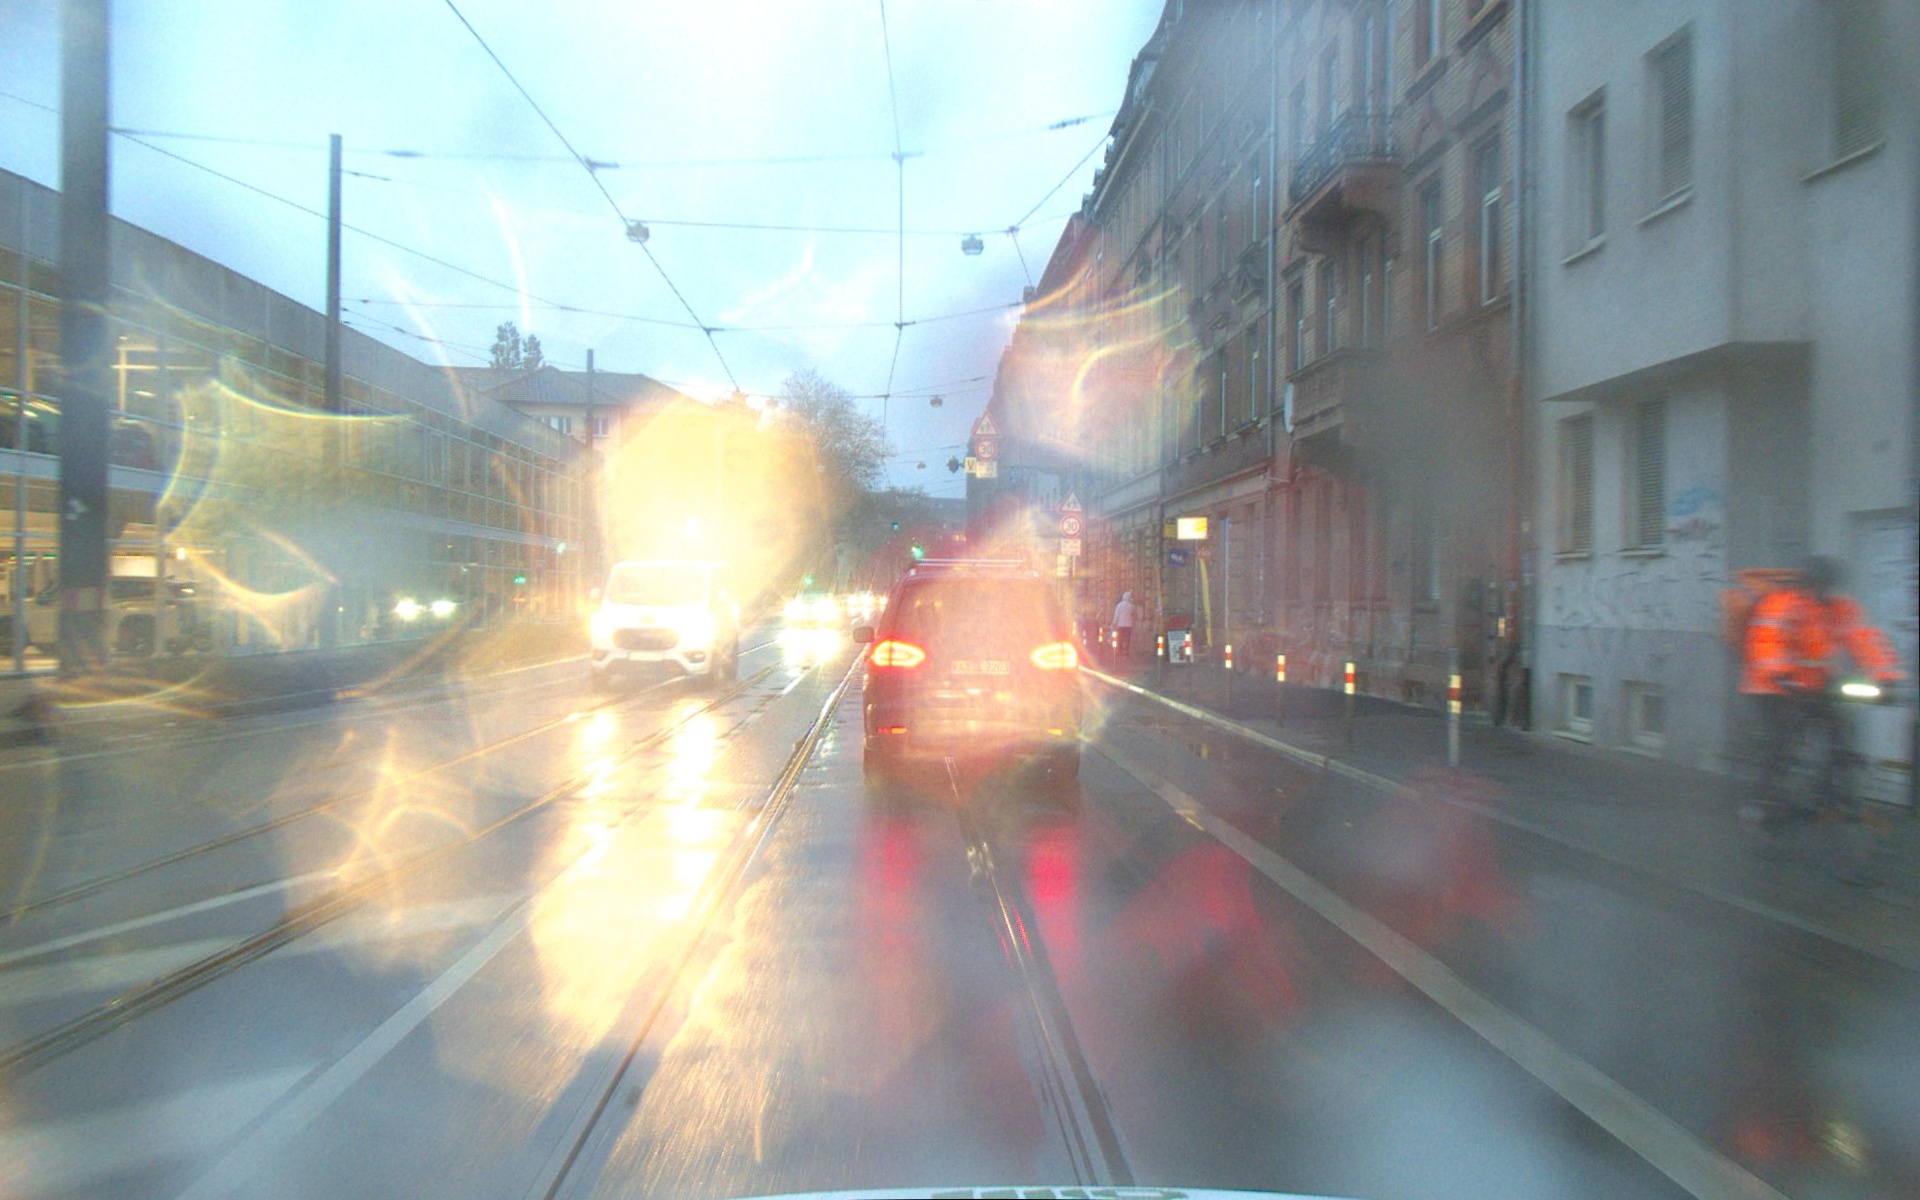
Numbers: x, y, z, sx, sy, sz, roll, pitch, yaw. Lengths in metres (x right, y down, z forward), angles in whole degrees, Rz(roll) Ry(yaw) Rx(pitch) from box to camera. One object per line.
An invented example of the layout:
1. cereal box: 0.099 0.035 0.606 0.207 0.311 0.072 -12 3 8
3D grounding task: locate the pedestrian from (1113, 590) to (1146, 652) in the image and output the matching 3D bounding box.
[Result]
1. pedestrian: 4.492 0.543 43.864 0.770 1.625 0.741 0 0 -1

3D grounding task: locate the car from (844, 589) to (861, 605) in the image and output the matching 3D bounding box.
1. car: -12.201 -0.333 187.986 1.838 1.739 4.758 -1 0 -3

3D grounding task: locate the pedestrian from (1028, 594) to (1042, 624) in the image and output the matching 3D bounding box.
1. pedestrian: 3.575 0.445 78.419 0.588 1.401 0.728 1 -1 -3

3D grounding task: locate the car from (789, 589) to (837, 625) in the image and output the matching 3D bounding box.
1. car: -6.651 0.304 75.071 1.803 1.606 4.441 0 0 -1

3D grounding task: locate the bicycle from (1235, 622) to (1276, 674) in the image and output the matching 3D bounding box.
1. bicycle: 5.575 0.887 31.267 0.389 0.927 1.866 0 0 -2

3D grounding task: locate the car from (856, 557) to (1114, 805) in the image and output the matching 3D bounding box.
1. car: 0.216 0.615 14.622 1.952 1.874 4.000 1 0 1

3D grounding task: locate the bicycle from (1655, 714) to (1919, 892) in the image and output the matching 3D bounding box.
1. bicycle: 4.654 1.089 9.314 0.596 0.774 1.859 0 0 -4

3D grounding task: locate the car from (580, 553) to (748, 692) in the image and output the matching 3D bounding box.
1. car: -4.753 0.349 27.231 1.953 2.049 4.684 1 0 -1

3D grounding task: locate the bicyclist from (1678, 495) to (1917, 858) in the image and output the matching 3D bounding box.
1. bicyclist: 4.679 0.404 9.316 0.730 1.913 1.111 0 0 -4
